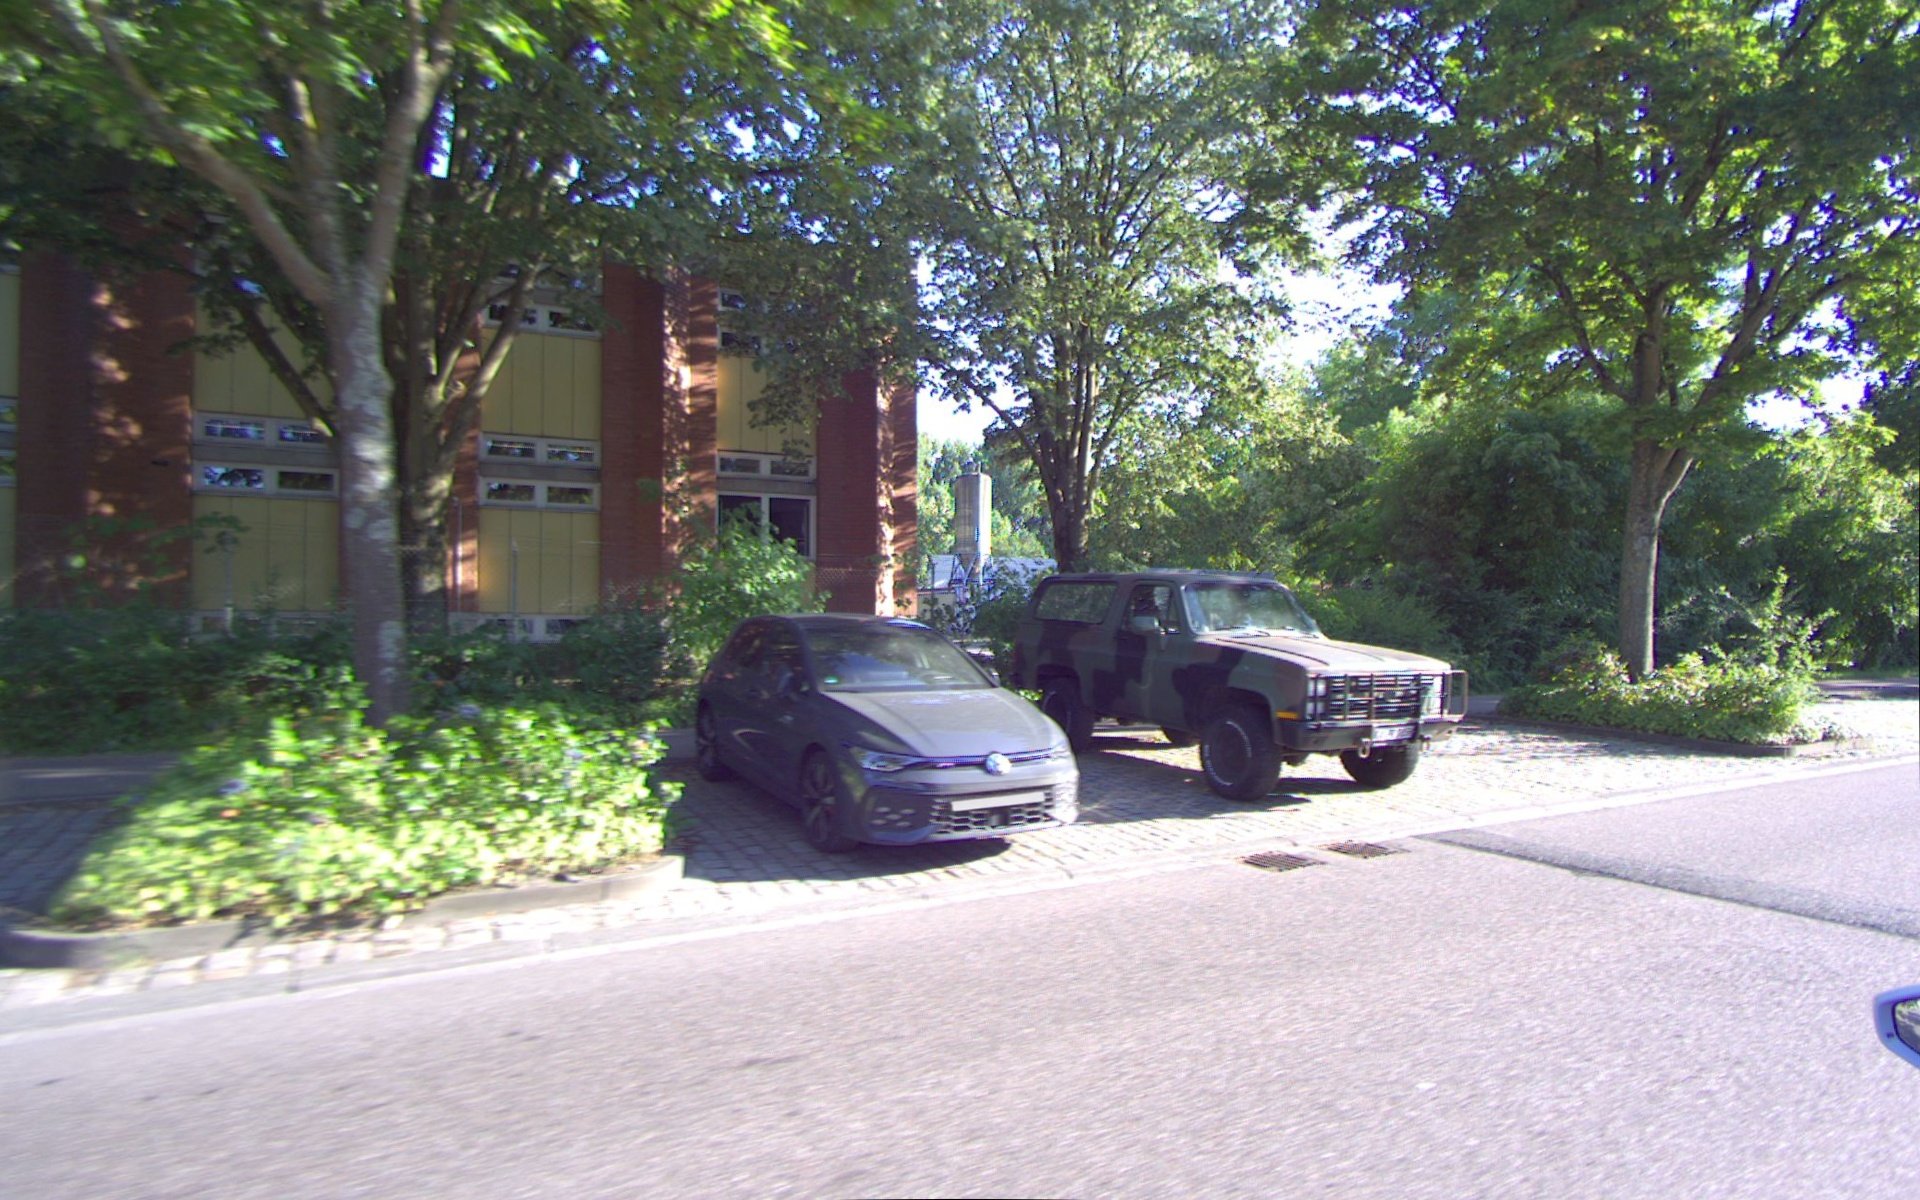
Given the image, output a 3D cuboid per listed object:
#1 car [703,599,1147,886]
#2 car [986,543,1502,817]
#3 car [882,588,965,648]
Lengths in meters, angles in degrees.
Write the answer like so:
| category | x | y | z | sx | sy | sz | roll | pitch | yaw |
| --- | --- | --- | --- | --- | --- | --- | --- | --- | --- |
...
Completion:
| category | x | y | z | sx | sy | sz | roll | pitch | yaw |
| --- | --- | --- | --- | --- | --- | --- | --- | --- | --- |
| car | -0.581 | 0.805 | 7.829 | 1.685 | 1.550 | 4.191 | 1 | 0 | -30 |
| car | 2.452 | 0.567 | 10.189 | 2.148 | 2.047 | 4.983 | 1 | 1 | -29 |
| car | -1.275 | 0.609 | 33.136 | 1.757 | 1.840 | 3.986 | 1 | -1 | -17 |
